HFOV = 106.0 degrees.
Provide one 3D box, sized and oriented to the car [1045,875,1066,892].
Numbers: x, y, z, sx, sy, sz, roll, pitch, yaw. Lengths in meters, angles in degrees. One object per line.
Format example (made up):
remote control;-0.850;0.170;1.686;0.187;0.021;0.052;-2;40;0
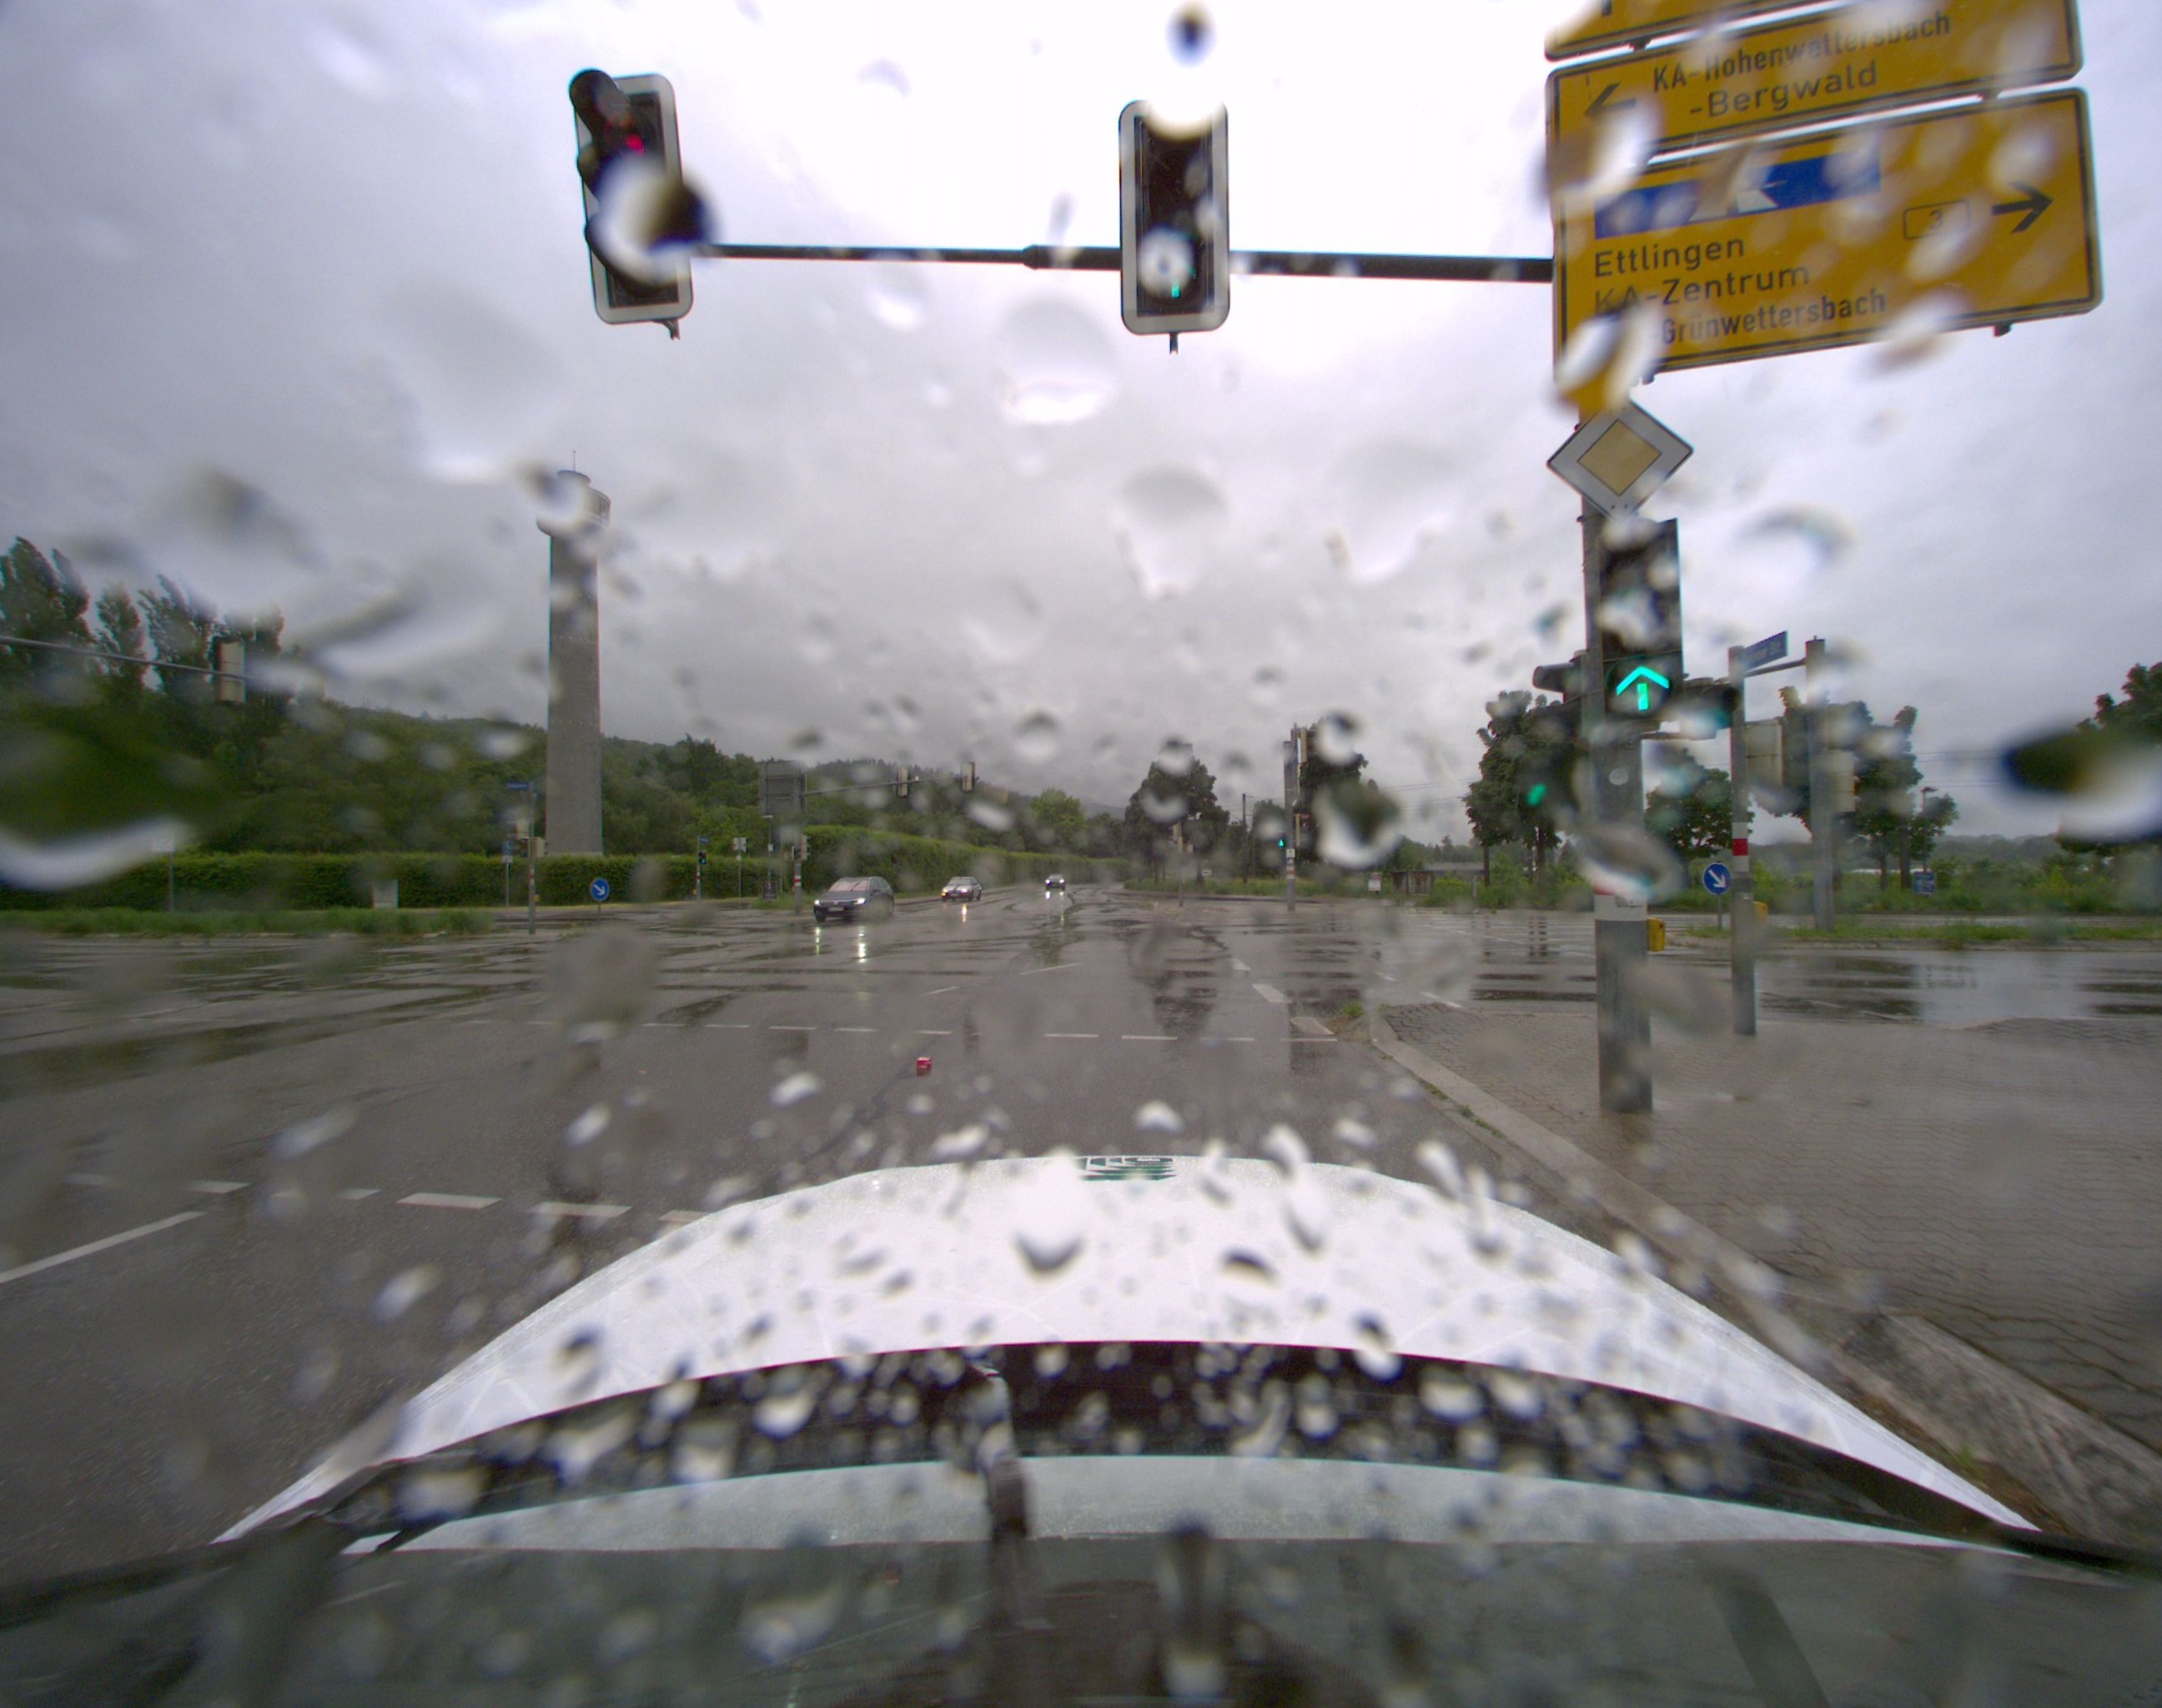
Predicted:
car;-2.438;2.829;78.217;1.779;1.505;4.060;-1;-1;0

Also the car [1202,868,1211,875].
car;33.716;4.724;218.957;1.939;1.904;4.137;-1;-1;15

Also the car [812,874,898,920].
car;-7.886;1.466;28.832;1.702;1.466;4.453;-1;-1;1

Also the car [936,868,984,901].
car;-6.862;1.701;46.629;2.029;1.708;4.067;-1;-1;2
